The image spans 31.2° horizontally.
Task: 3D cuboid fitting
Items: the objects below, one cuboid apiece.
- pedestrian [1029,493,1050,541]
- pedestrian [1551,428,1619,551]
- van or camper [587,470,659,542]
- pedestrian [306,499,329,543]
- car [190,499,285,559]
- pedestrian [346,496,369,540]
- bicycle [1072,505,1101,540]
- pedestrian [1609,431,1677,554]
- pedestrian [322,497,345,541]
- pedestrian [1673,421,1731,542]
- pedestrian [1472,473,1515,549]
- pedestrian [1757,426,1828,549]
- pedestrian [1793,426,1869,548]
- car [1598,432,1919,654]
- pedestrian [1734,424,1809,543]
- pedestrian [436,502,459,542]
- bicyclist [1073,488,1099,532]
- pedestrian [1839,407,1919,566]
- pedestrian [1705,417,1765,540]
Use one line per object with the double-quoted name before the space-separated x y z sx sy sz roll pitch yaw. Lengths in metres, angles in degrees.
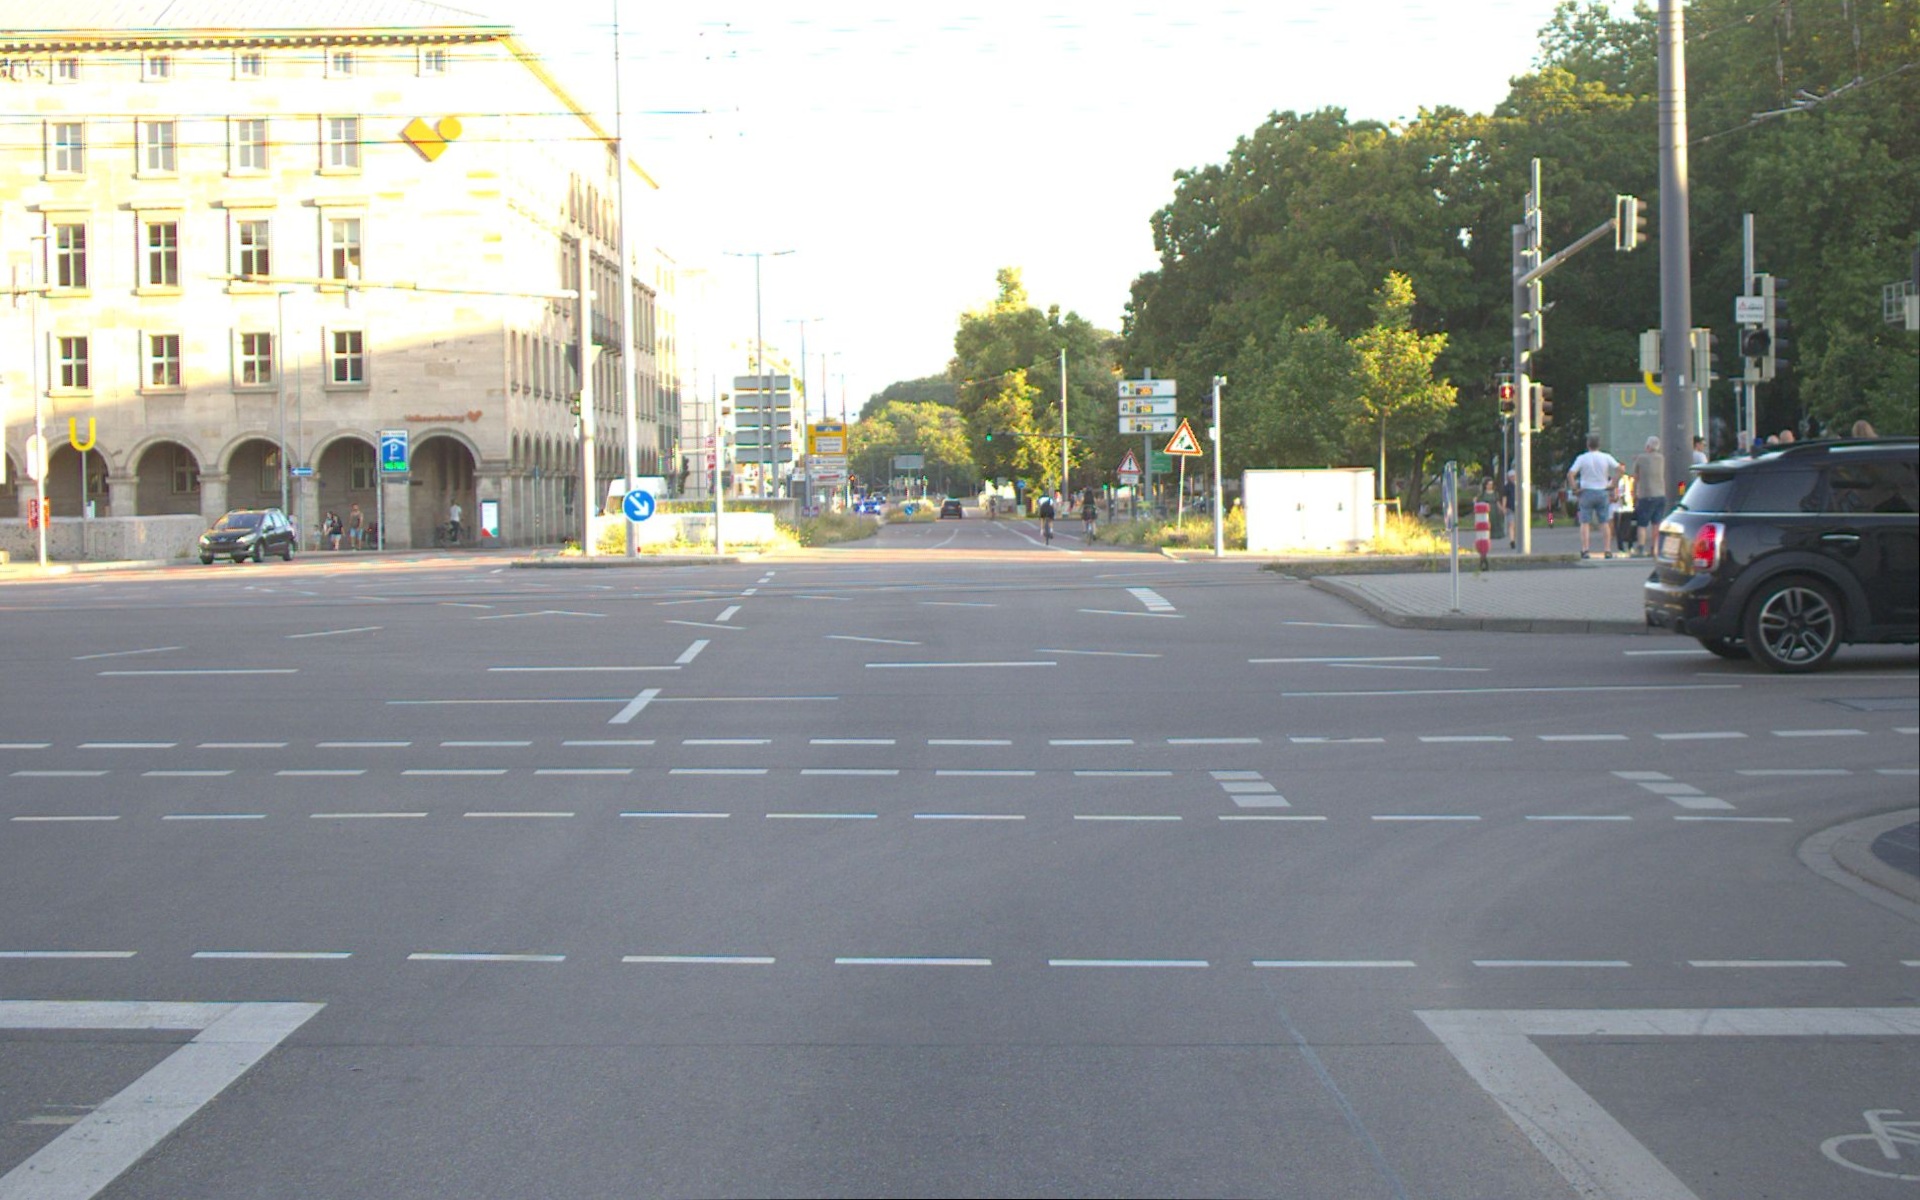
"pedestrian" 2.310 -2.406 99.755 0.522 1.369 0.688 -1 2 -4
"pedestrian" 8.900 -1.579 48.934 0.808 1.724 0.688 -1 2 -2
"van or camper" -13.096 -3.682 133.841 1.884 2.750 4.932 -1 2 5
"pedestrian" -23.147 -2.861 123.863 0.633 1.562 0.775 -1 2 1
"car" -21.125 -2.083 100.622 1.993 1.656 4.001 -1 2 -1
"pedestrian" -21.701 -2.951 123.764 0.633 1.562 0.775 -1 2 1
"bicycle" 3.639 -2.234 98.912 0.651 0.967 1.485 -1 2 -4
"pedestrian" 9.725 -1.526 48.958 0.808 1.724 0.688 -1 2 -2
"pedestrian" -22.372 -2.909 122.865 0.633 1.562 0.775 -1 2 1
"pedestrian" 10.744 -1.718 49.775 0.808 1.724 0.687 -1 2 12
"pedestrian" 12.248 -2.054 78.950 0.808 1.724 0.929 -1 2 -2
"pedestrian" 11.842 -1.608 48.921 0.808 1.724 0.688 -1 2 -1
"pedestrian" 12.568 -1.631 49.624 0.685 1.724 0.811 -2 2 -26
"car" 7.018 -0.452 24.668 4.460 1.490 2.128 -1 2 0
"pedestrian" 11.938 -1.718 50.566 0.686 1.724 0.811 -2 2 -33
"pedestrian" -20.386 -3.110 136.648 0.772 1.562 0.636 -1 2 1
"bicyclist" 3.615 -2.592 98.880 0.651 1.219 0.861 -1 2 -4
"pedestrian" 10.158 -1.254 38.011 0.692 1.724 0.741 -1 2 2
"pedestrian" 11.063 -1.737 49.083 0.808 1.724 0.687 -1 2 12
